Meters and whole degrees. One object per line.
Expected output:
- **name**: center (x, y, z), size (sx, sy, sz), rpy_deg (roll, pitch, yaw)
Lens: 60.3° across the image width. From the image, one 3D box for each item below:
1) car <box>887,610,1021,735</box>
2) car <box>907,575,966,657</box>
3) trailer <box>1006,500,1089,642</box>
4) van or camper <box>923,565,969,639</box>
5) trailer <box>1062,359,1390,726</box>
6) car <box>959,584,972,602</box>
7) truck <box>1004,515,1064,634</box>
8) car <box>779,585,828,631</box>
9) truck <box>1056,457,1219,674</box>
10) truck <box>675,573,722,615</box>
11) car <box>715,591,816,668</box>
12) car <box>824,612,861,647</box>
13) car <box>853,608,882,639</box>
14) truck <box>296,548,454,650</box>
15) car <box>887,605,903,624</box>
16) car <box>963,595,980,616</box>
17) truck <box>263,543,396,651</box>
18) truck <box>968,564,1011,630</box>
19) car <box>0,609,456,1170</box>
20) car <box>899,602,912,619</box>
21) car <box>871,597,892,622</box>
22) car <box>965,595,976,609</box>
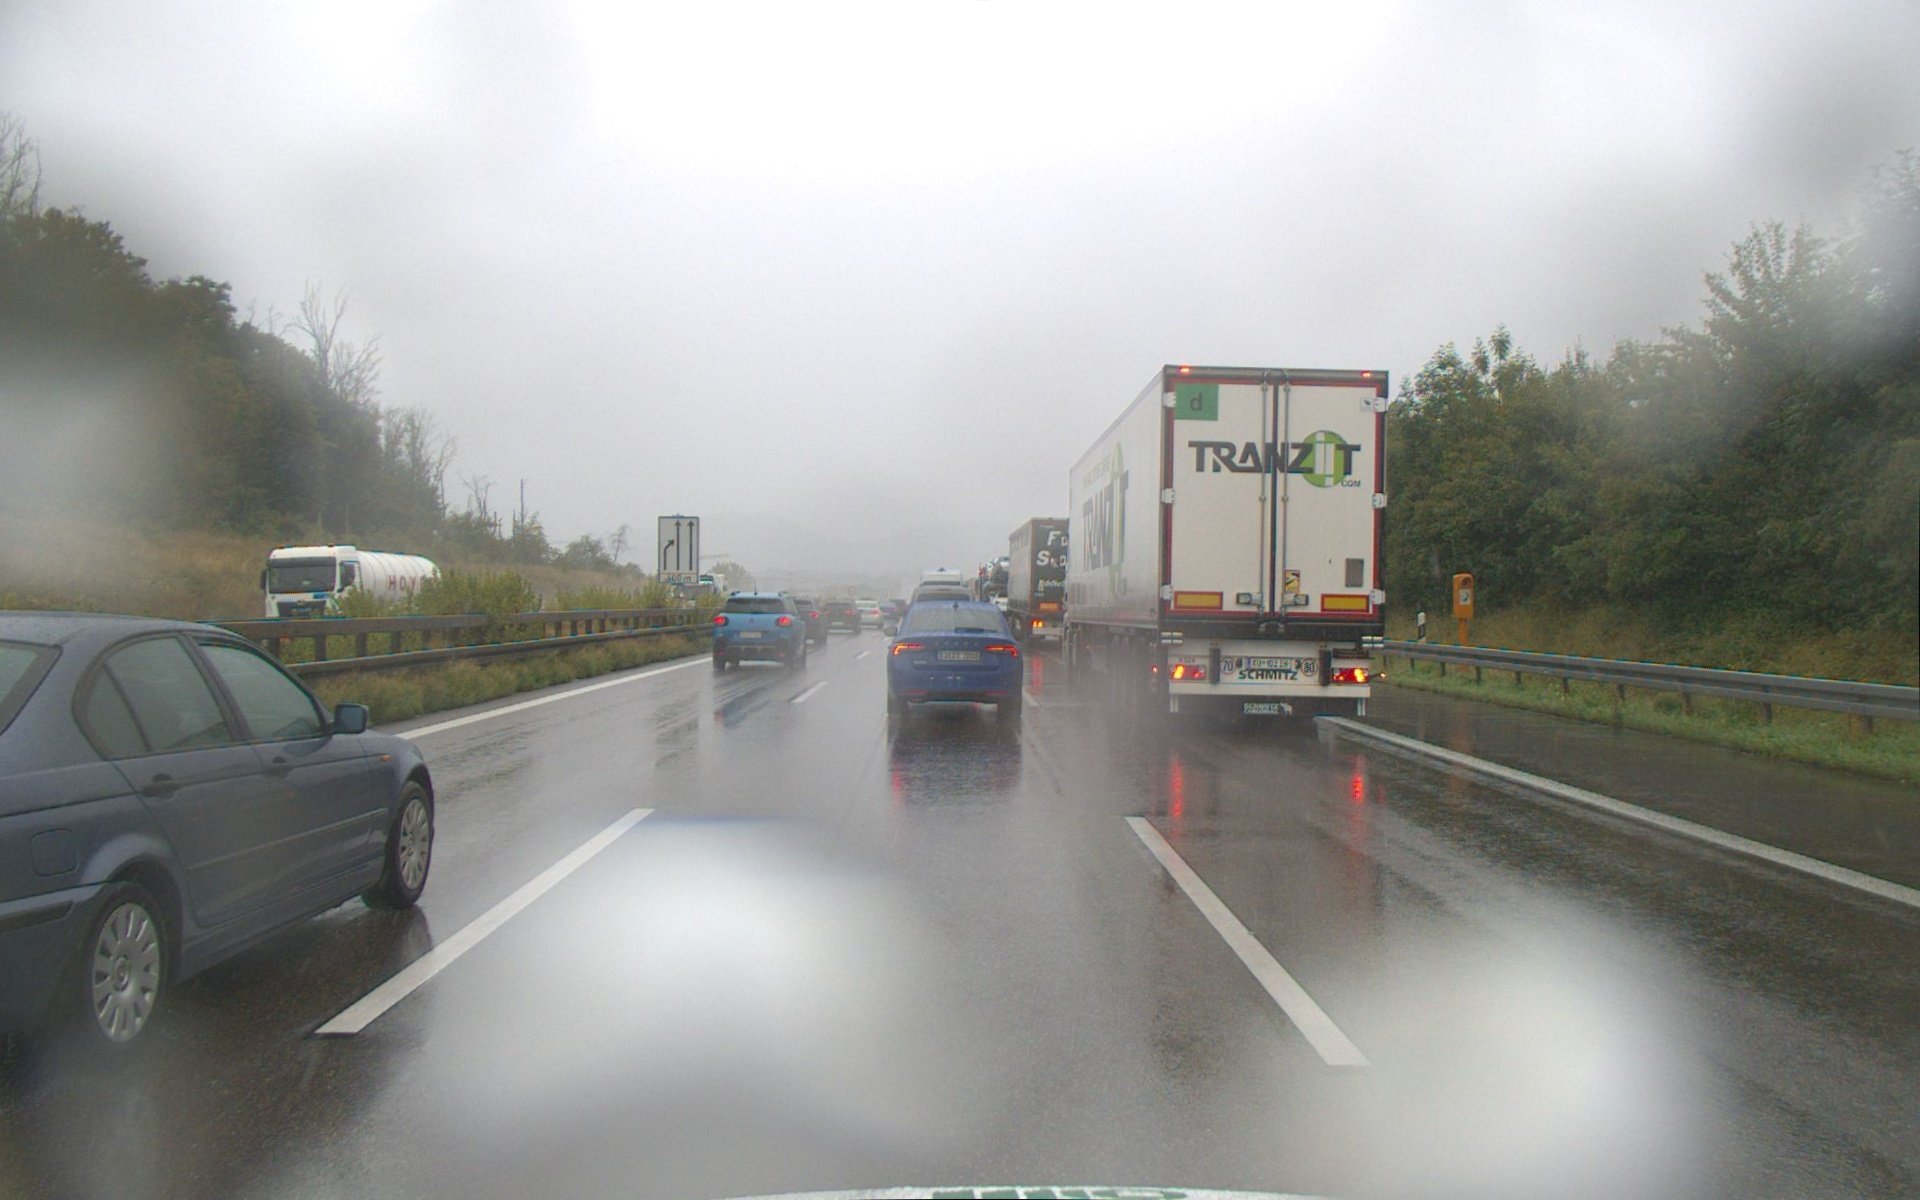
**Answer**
- **car**: center (-0.068, 0.888, 21.899), size (1.602, 1.470, 4.000), rpy_deg (0, 0, 0)
- **car**: center (-0.544, 0.354, 38.538), size (1.309, 1.811, 3.321), rpy_deg (0, 0, -1)
- **trailer**: center (2.792, -0.891, 55.378), size (2.005, 4.250, 11.446), rpy_deg (0, 0, -1)
- **van or camper**: center (-0.564, 0.059, 66.295), size (1.761, 2.855, 4.767), rpy_deg (0, 0, -1)
- **trailer**: center (3.423, -0.681, 25.788), size (2.577, 4.083, 14.627), rpy_deg (0, 0, -1)
- **car**: center (0.625, -0.725, 176.213), size (1.308, 1.923, 3.039), rpy_deg (-1, 0, -1)
- **truck**: center (2.708, -0.932, 61.321), size (2.005, 4.266, 3.999), rpy_deg (0, 0, -1)
- **car**: center (-5.046, 0.249, 53.593), size (1.331, 1.456, 3.363), rpy_deg (0, 0, -1)
- **truck**: center (3.329, -0.629, 32.158), size (2.577, 3.894, 4.790), rpy_deg (0, 0, -1)
- **truck**: center (-18.033, -0.392, 114.232), size (2.430, 2.767, 4.527), rpy_deg (-1, -1, 0)
- **car**: center (-4.108, 0.601, 35.456), size (1.686, 1.550, 4.000), rpy_deg (0, 0, 0)
- **car**: center (-5.178, 1.296, 73.084), size (1.410, 1.445, 3.321), rpy_deg (0, 0, -1)
- **car**: center (-4.883, 1.217, 87.684), size (1.410, 1.560, 3.321), rpy_deg (0, 0, -1)
- **truck**: center (-21.035, 0.071, 60.100), size (2.503, 3.356, 9.346), rpy_deg (-1, -1, -1)
- **car**: center (-6.416, 1.431, 163.525), size (1.419, 1.815, 3.408), rpy_deg (1, 0, -1)
- **car**: center (0.978, 0.467, 141.751), size (1.419, 1.815, 3.408), rpy_deg (1, 0, -1)
- **truck**: center (-20.918, -0.061, 55.114), size (2.490, 3.337, 5.196), rpy_deg (-2, -1, -2)
- **truck**: center (1.586, -0.188, 91.441), size (1.953, 3.481, 8.029), rpy_deg (0, 1, -2)
- **car**: center (-3.346, 0.762, 6.127), size (1.683, 1.424, 4.229), rpy_deg (0, 0, -1)
- **car**: center (-6.178, 1.185, 187.775), size (1.419, 1.815, 3.408), rpy_deg (1, 0, -1)
- **car**: center (-5.791, 0.736, 122.945), size (1.419, 1.815, 3.408), rpy_deg (1, 0, -1)
- **car**: center (1.456, 0.289, 230.245), size (1.419, 1.815, 3.408), rpy_deg (1, 0, -1)
